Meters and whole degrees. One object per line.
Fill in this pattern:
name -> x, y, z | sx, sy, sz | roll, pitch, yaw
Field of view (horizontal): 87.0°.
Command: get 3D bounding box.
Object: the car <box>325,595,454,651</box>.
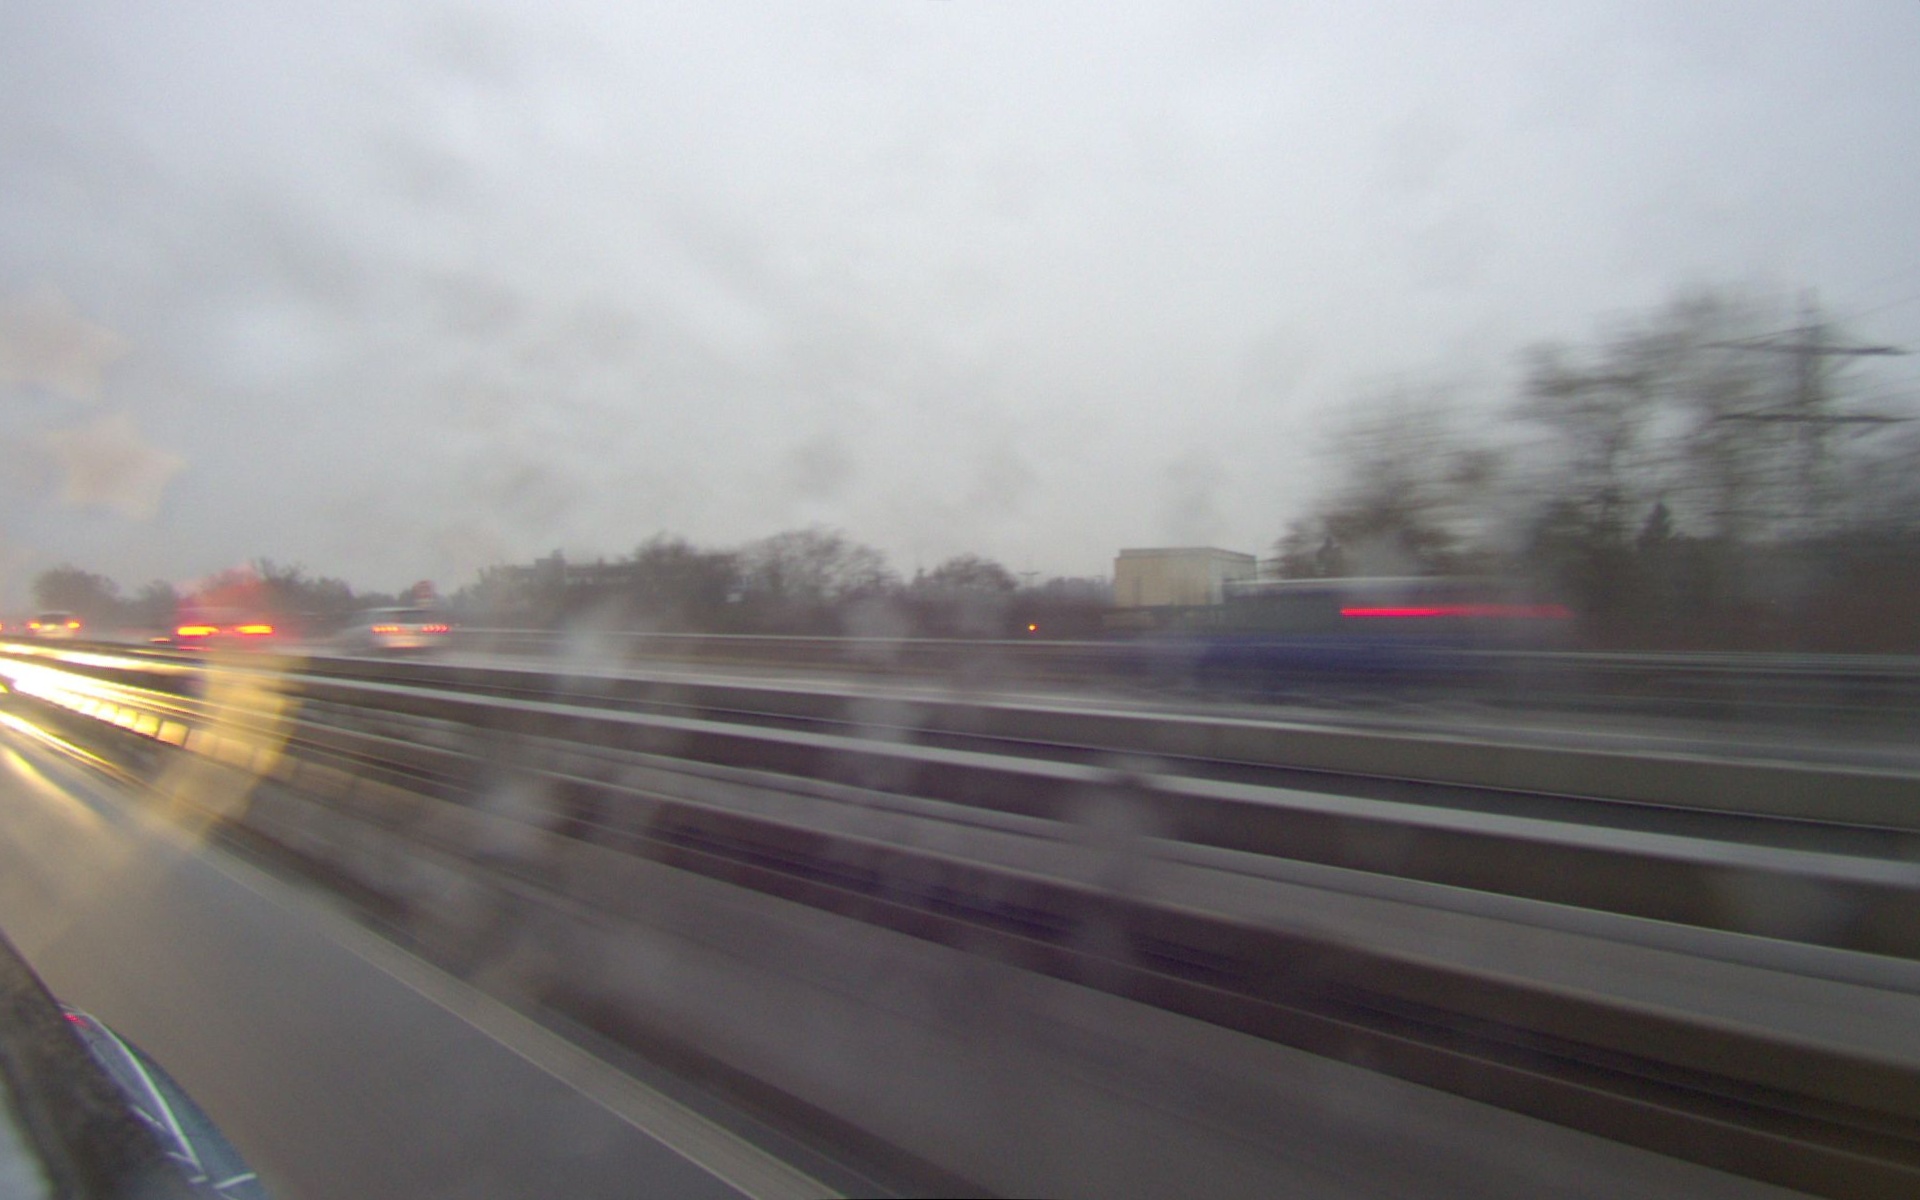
car -> -17.165, 0.718, 30.393 | 4.388, 1.563, 1.964 | -3, -2, 40

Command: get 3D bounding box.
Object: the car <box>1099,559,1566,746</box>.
car -> 4.277, 0.539, 12.123 | 4.844, 1.805, 2.049 | -1, -1, 41

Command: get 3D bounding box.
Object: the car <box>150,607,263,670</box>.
car -> -20.442, 1.046, 27.376 | 4.470, 1.563, 1.797 | -3, -2, 44

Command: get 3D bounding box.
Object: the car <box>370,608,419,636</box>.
car -> -42.264, 1.650, 75.622 | 3.999, 2.029, 1.972 | -2, -1, 42

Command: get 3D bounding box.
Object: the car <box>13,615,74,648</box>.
car -> -46.492, 1.593, 51.321 | 4.136, 1.563, 1.972 | -3, -2, 43

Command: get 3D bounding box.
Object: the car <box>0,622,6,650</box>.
car -> -78.095, 2.934, 81.143 | 5.198, 2.152, 1.972 | -3, -2, 43
